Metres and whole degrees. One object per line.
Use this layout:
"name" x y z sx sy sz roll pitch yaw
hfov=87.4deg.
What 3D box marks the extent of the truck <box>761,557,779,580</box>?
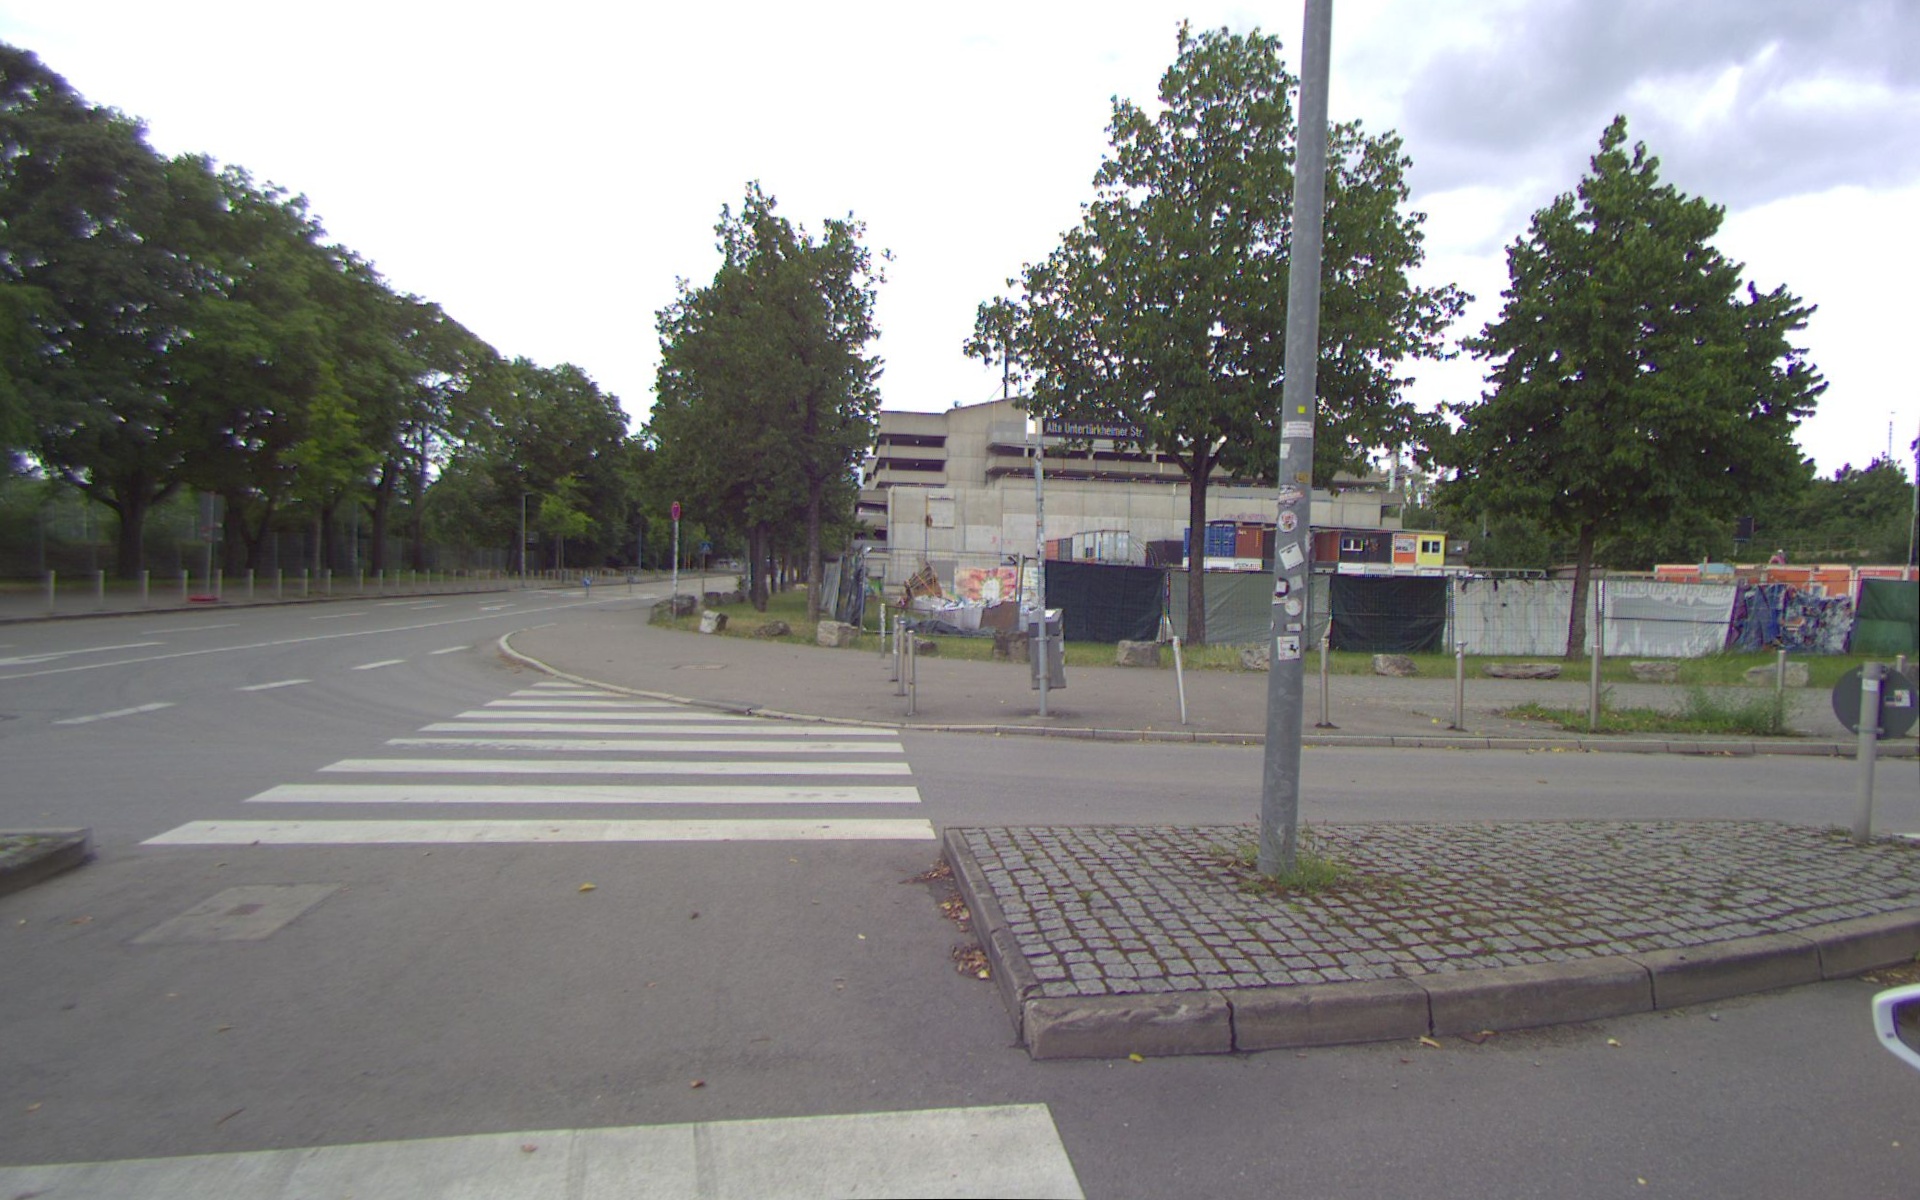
"truck" -32.319 -5.338 171.125 2.632 3.606 7.911 -1 1 -8
